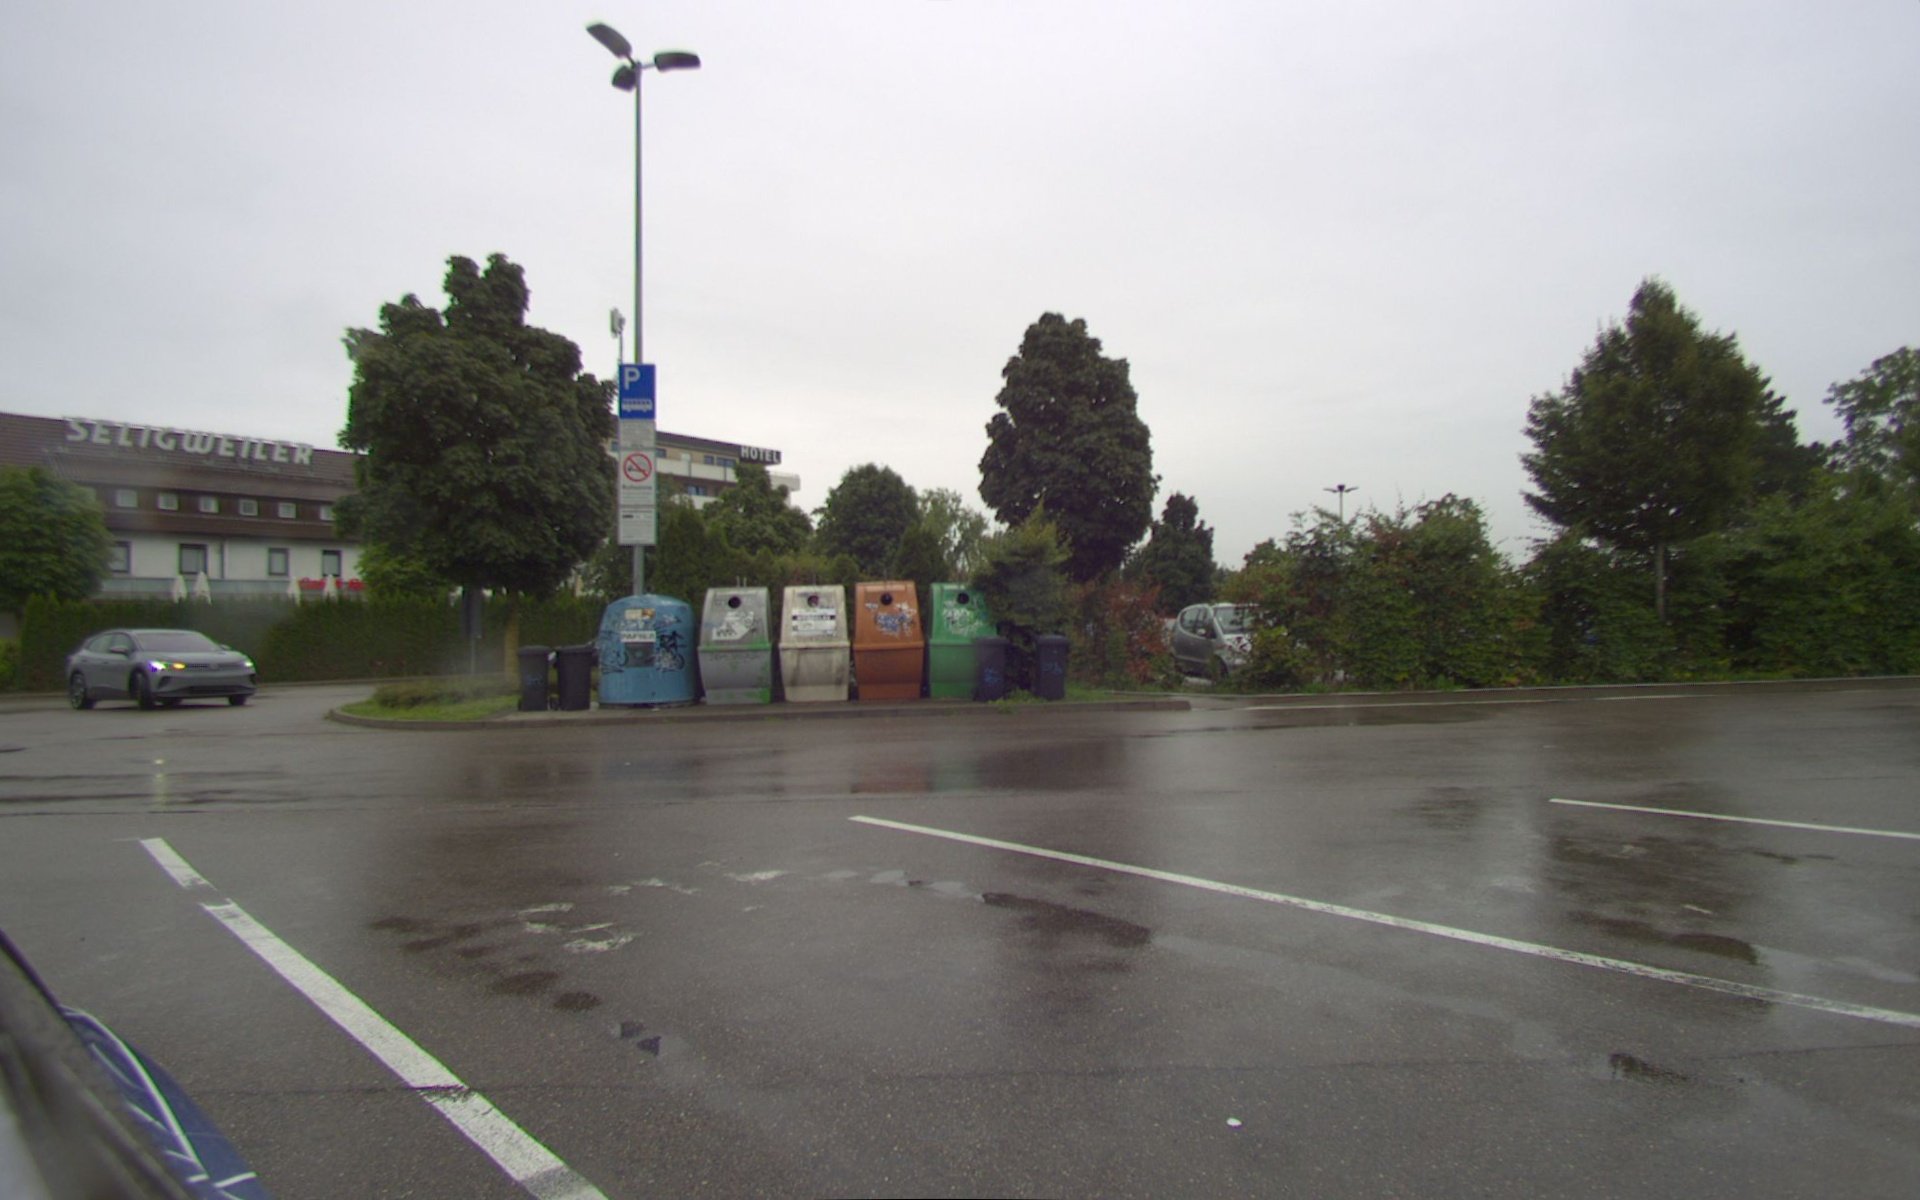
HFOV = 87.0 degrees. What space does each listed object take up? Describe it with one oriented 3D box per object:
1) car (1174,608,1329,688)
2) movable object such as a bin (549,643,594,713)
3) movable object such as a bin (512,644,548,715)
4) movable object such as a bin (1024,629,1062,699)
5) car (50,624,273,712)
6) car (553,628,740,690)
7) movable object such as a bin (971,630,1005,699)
[{"bbox_3d":[5.262,0.823,18.754,1.783,1.278,3.647,-2,0,0],"label":"car"},{"bbox_3d":[-5.506,1.091,14.340,0.450,0.956,0.400,-2,-1,41],"label":"movable object such as a bin"},{"bbox_3d":[-6.105,1.117,14.364,0.427,0.956,0.475,-2,-1,-25],"label":"movable object such as a bin"},{"bbox_3d":[1.134,0.866,13.876,0.432,0.923,0.509,-2,-2,-1],"label":"movable object such as a bin"},{"bbox_3d":[-16.218,1.368,20.528,4.480,1.586,1.981,-3,-2,29],"label":"car"},{"bbox_3d":[-8.084,1.515,26.290,4.279,1.460,1.865,-2,-2,8],"label":"car"},{"bbox_3d":[0.385,0.896,14.146,0.432,0.929,0.508,-2,-2,1],"label":"movable object such as a bin"}]
